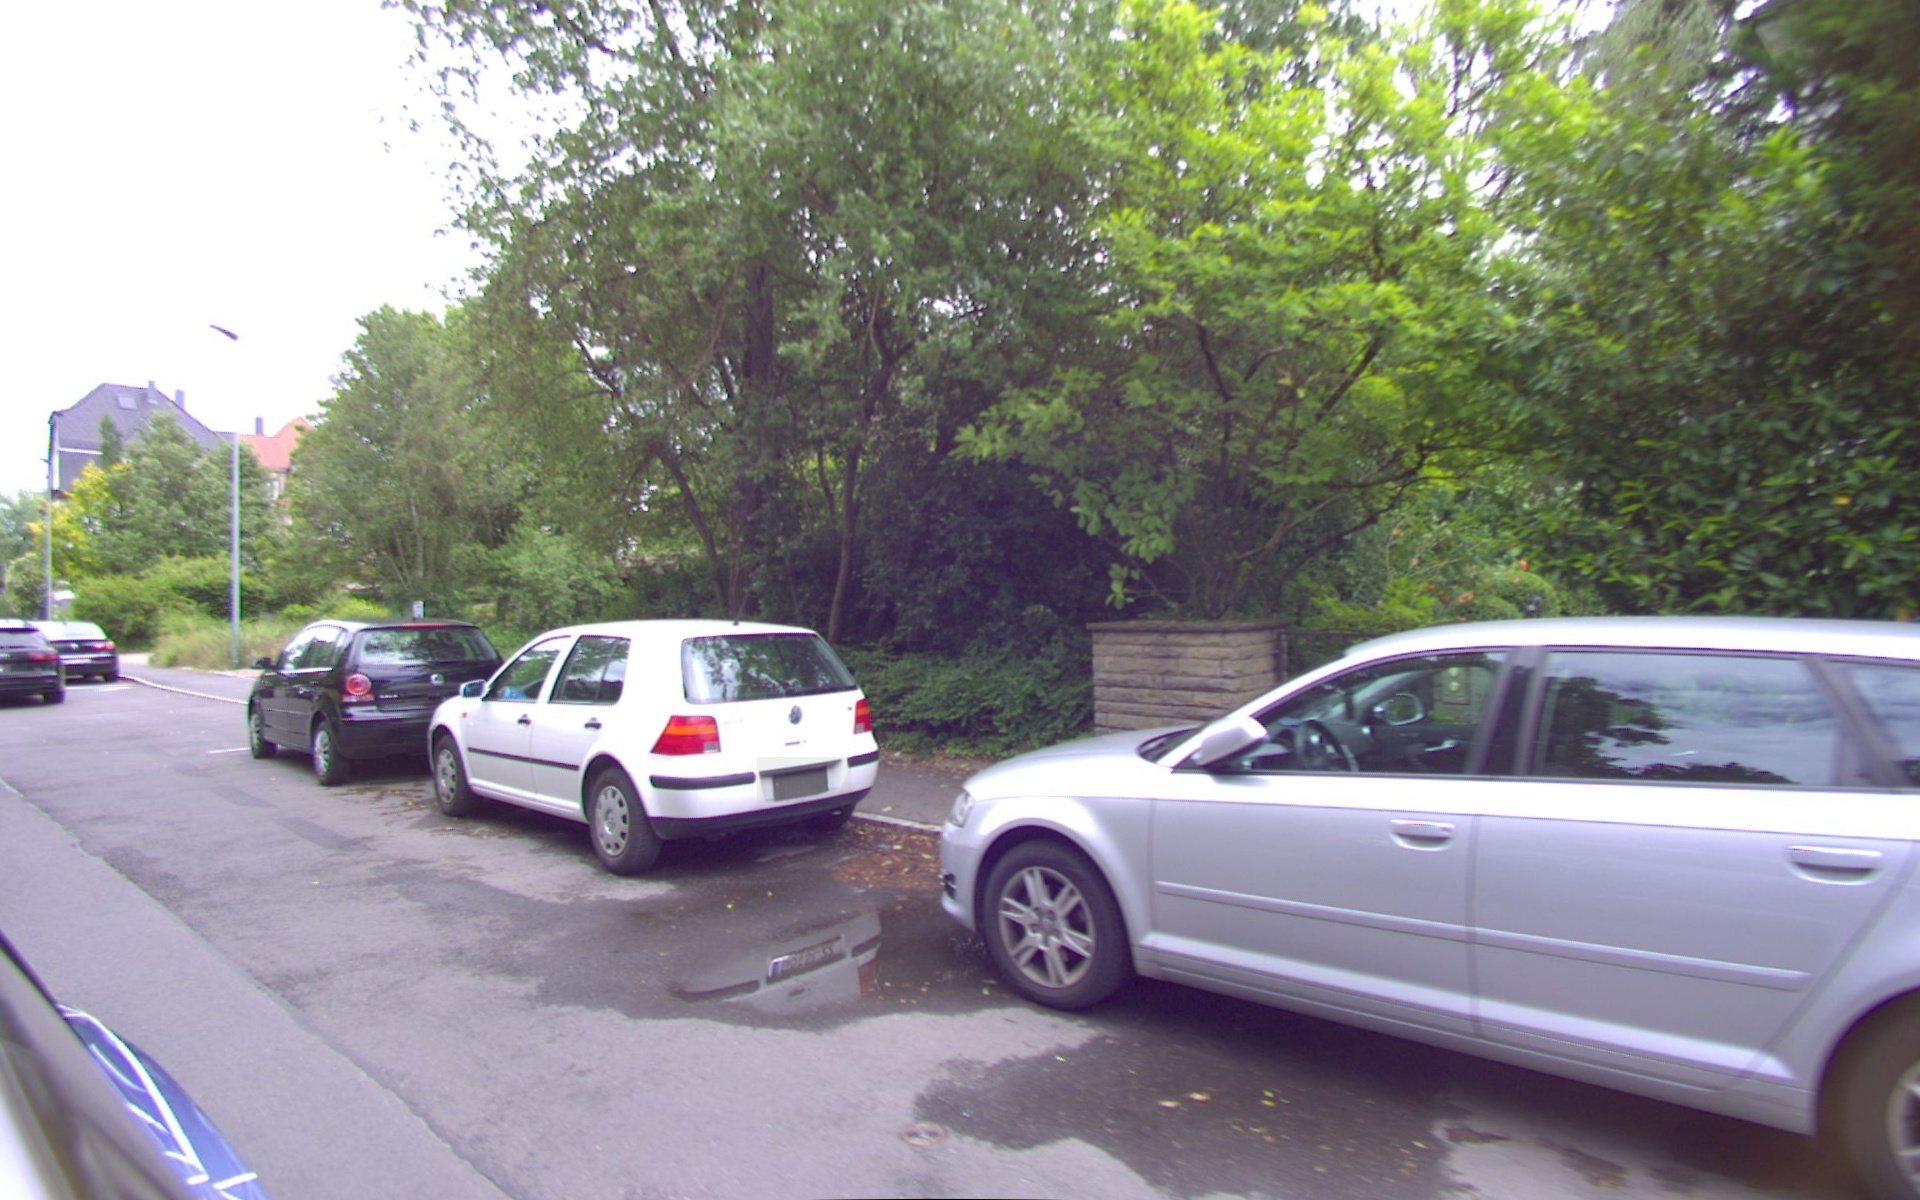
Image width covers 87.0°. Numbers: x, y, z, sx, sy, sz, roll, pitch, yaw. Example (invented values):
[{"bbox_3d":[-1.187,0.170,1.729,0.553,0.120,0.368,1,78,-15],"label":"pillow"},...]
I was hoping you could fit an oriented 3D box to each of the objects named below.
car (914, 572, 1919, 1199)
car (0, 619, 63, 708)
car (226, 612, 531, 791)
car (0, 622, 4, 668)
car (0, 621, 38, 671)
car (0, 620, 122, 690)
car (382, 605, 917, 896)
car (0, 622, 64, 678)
[{"bbox_3d":[1.880,0.693,3.364,4.091,1.461,1.606,-1,-1,41],"label":"car"},{"bbox_3d":[-17.575,1.095,18.034,4.486,1.436,1.762,-1,-1,40],"label":"car"},{"bbox_3d":[-6.017,0.875,10.275,3.969,1.461,1.605,-1,-1,43],"label":"car"},{"bbox_3d":[-33.854,1.511,34.349,4.494,1.493,1.688,-1,-2,42],"label":"car"},{"bbox_3d":[-29.743,1.390,31.124,3.998,1.493,1.607,-1,-2,41],"label":"car"},{"bbox_3d":[-21.222,1.210,23.586,5.101,1.442,1.760,-1,-1,40],"label":"car"},{"bbox_3d":[-2.438,0.811,7.200,4.380,1.464,1.642,-2,-2,42],"label":"car"},{"bbox_3d":[-26.117,1.333,27.839,4.348,1.443,1.607,-1,-2,40],"label":"car"}]
